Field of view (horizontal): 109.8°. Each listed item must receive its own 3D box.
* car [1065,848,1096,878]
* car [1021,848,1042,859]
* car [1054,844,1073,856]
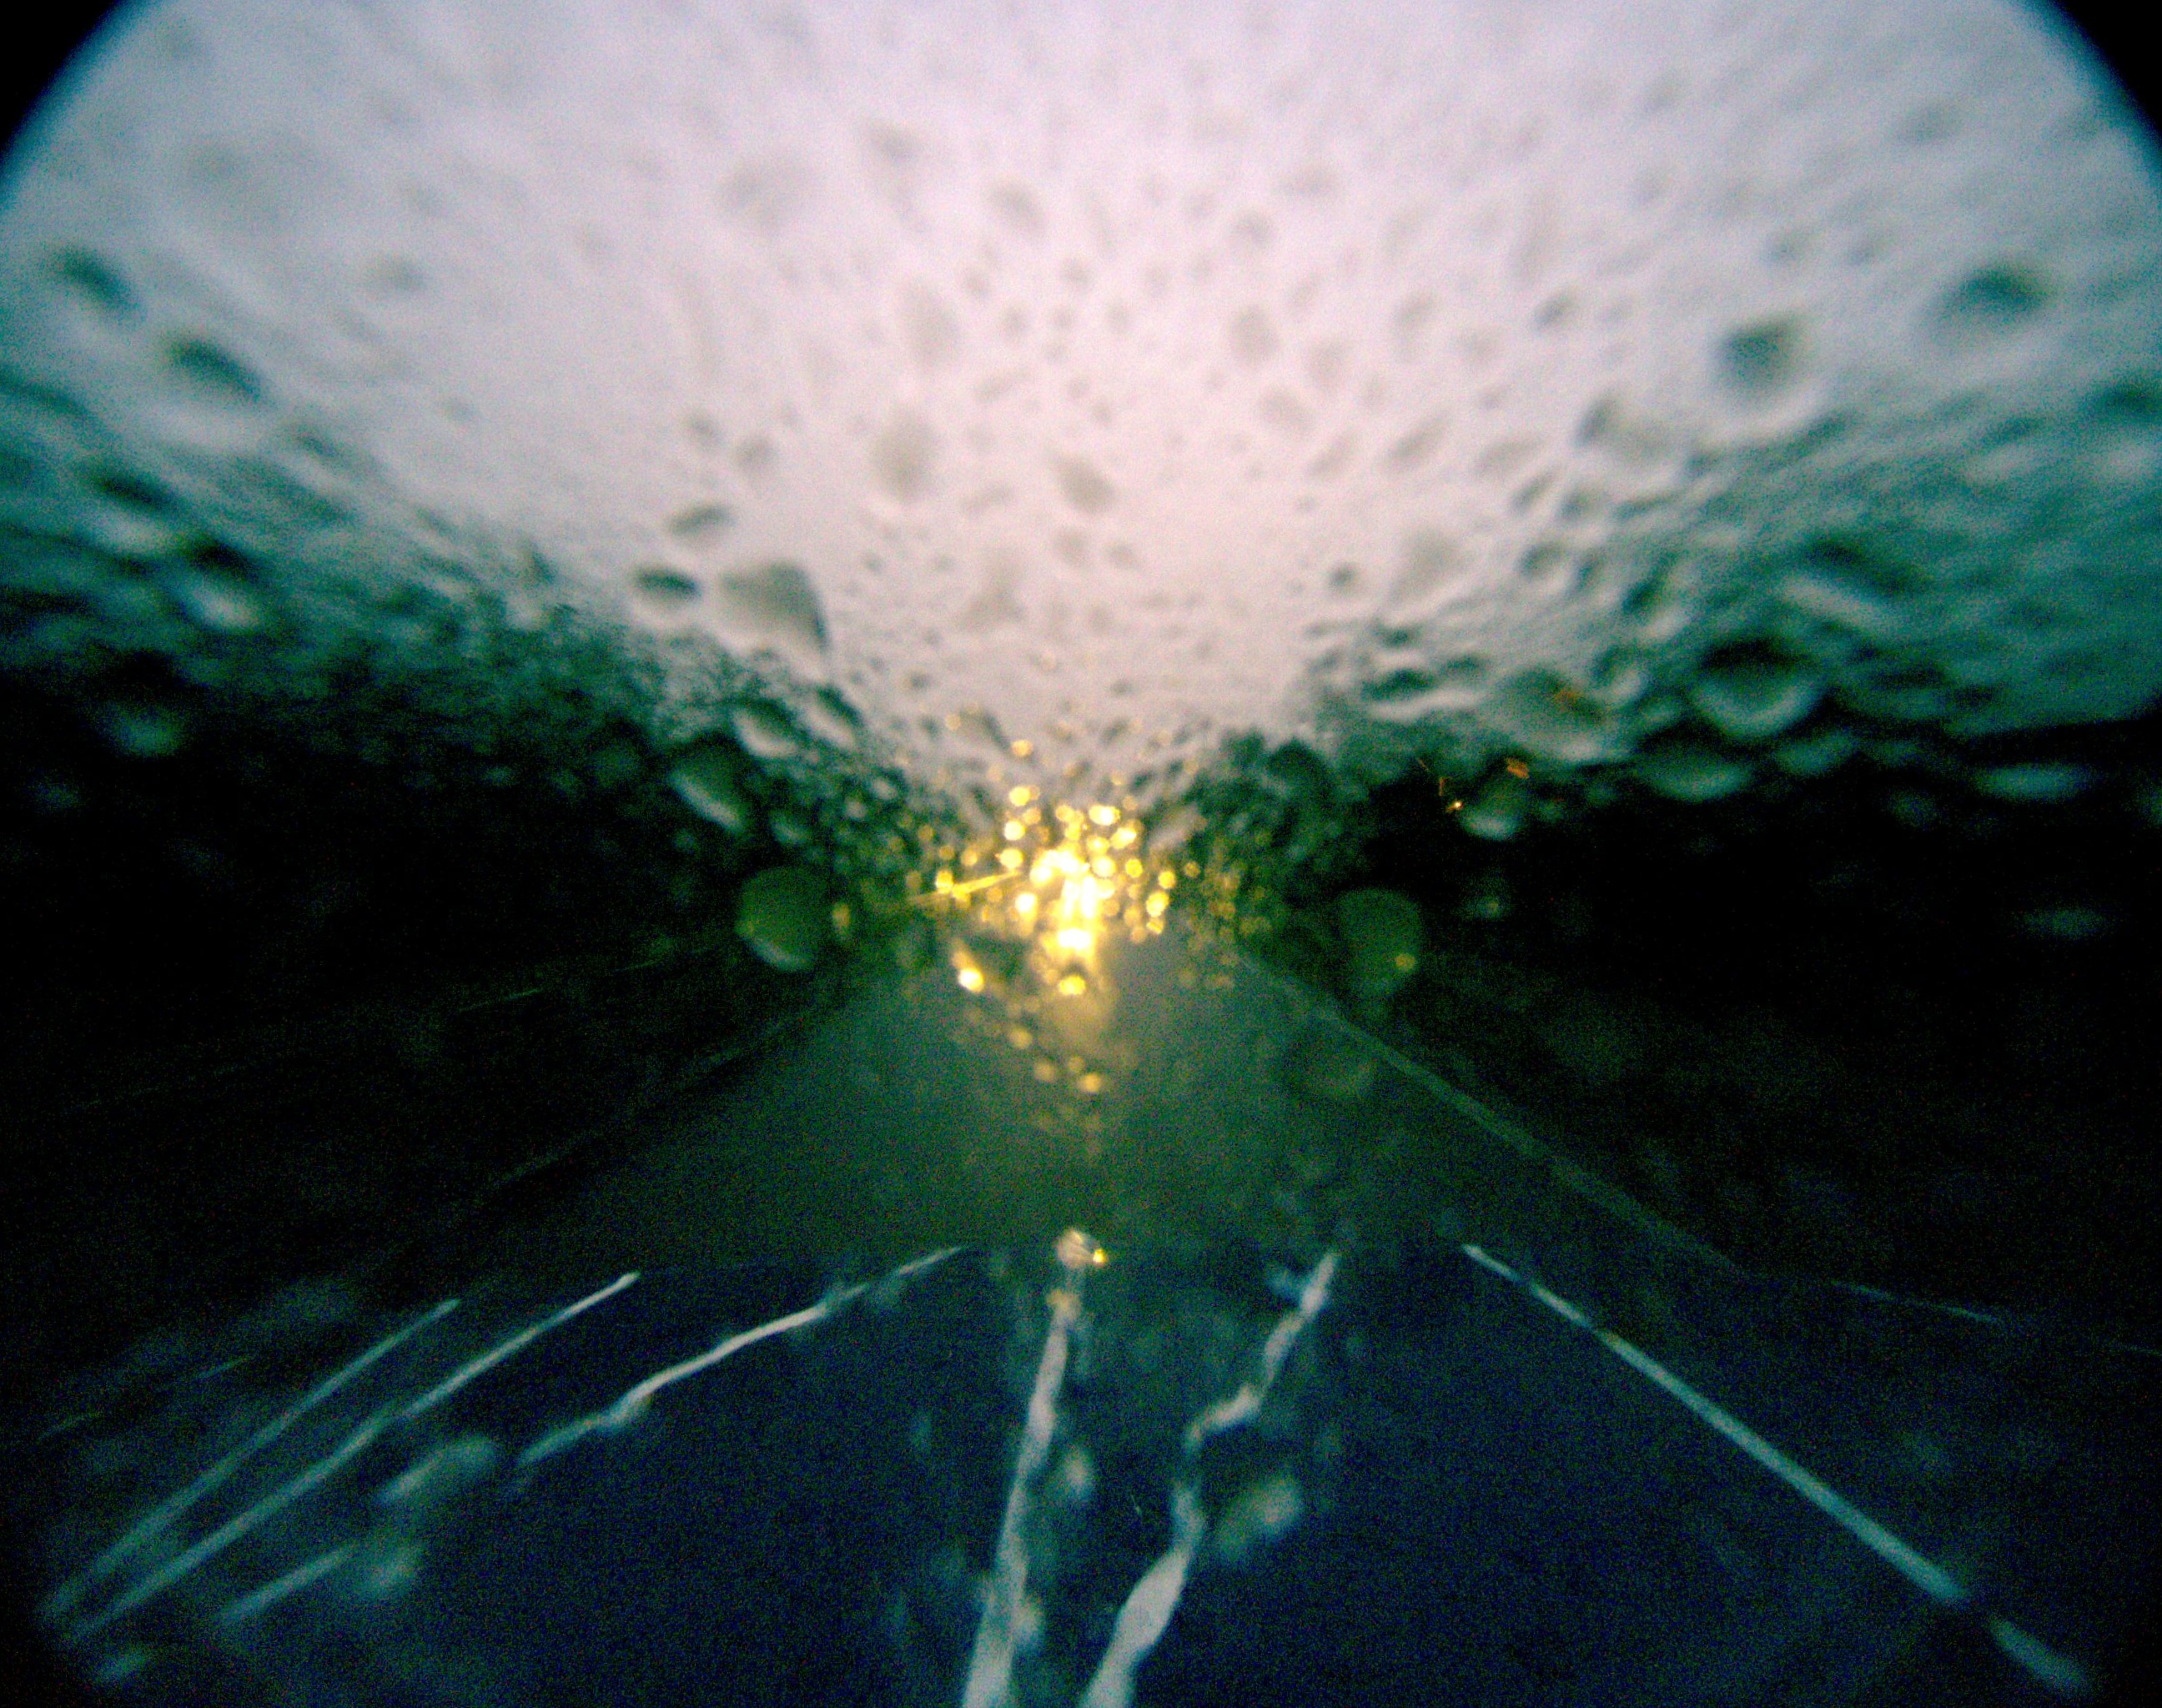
[{"bbox_3d":[-0.017,0.640,52.452,1.998,2.001,3.965,1,-1,1],"label":"car"},{"bbox_3d":[-9.308,-0.050,142.255,2.003,2.002,4.219,-2,1,-32],"label":"car"},{"bbox_3d":[-2.878,-0.669,125.043,2.001,2.002,4.223,-2,1,-17],"label":"car"}]
